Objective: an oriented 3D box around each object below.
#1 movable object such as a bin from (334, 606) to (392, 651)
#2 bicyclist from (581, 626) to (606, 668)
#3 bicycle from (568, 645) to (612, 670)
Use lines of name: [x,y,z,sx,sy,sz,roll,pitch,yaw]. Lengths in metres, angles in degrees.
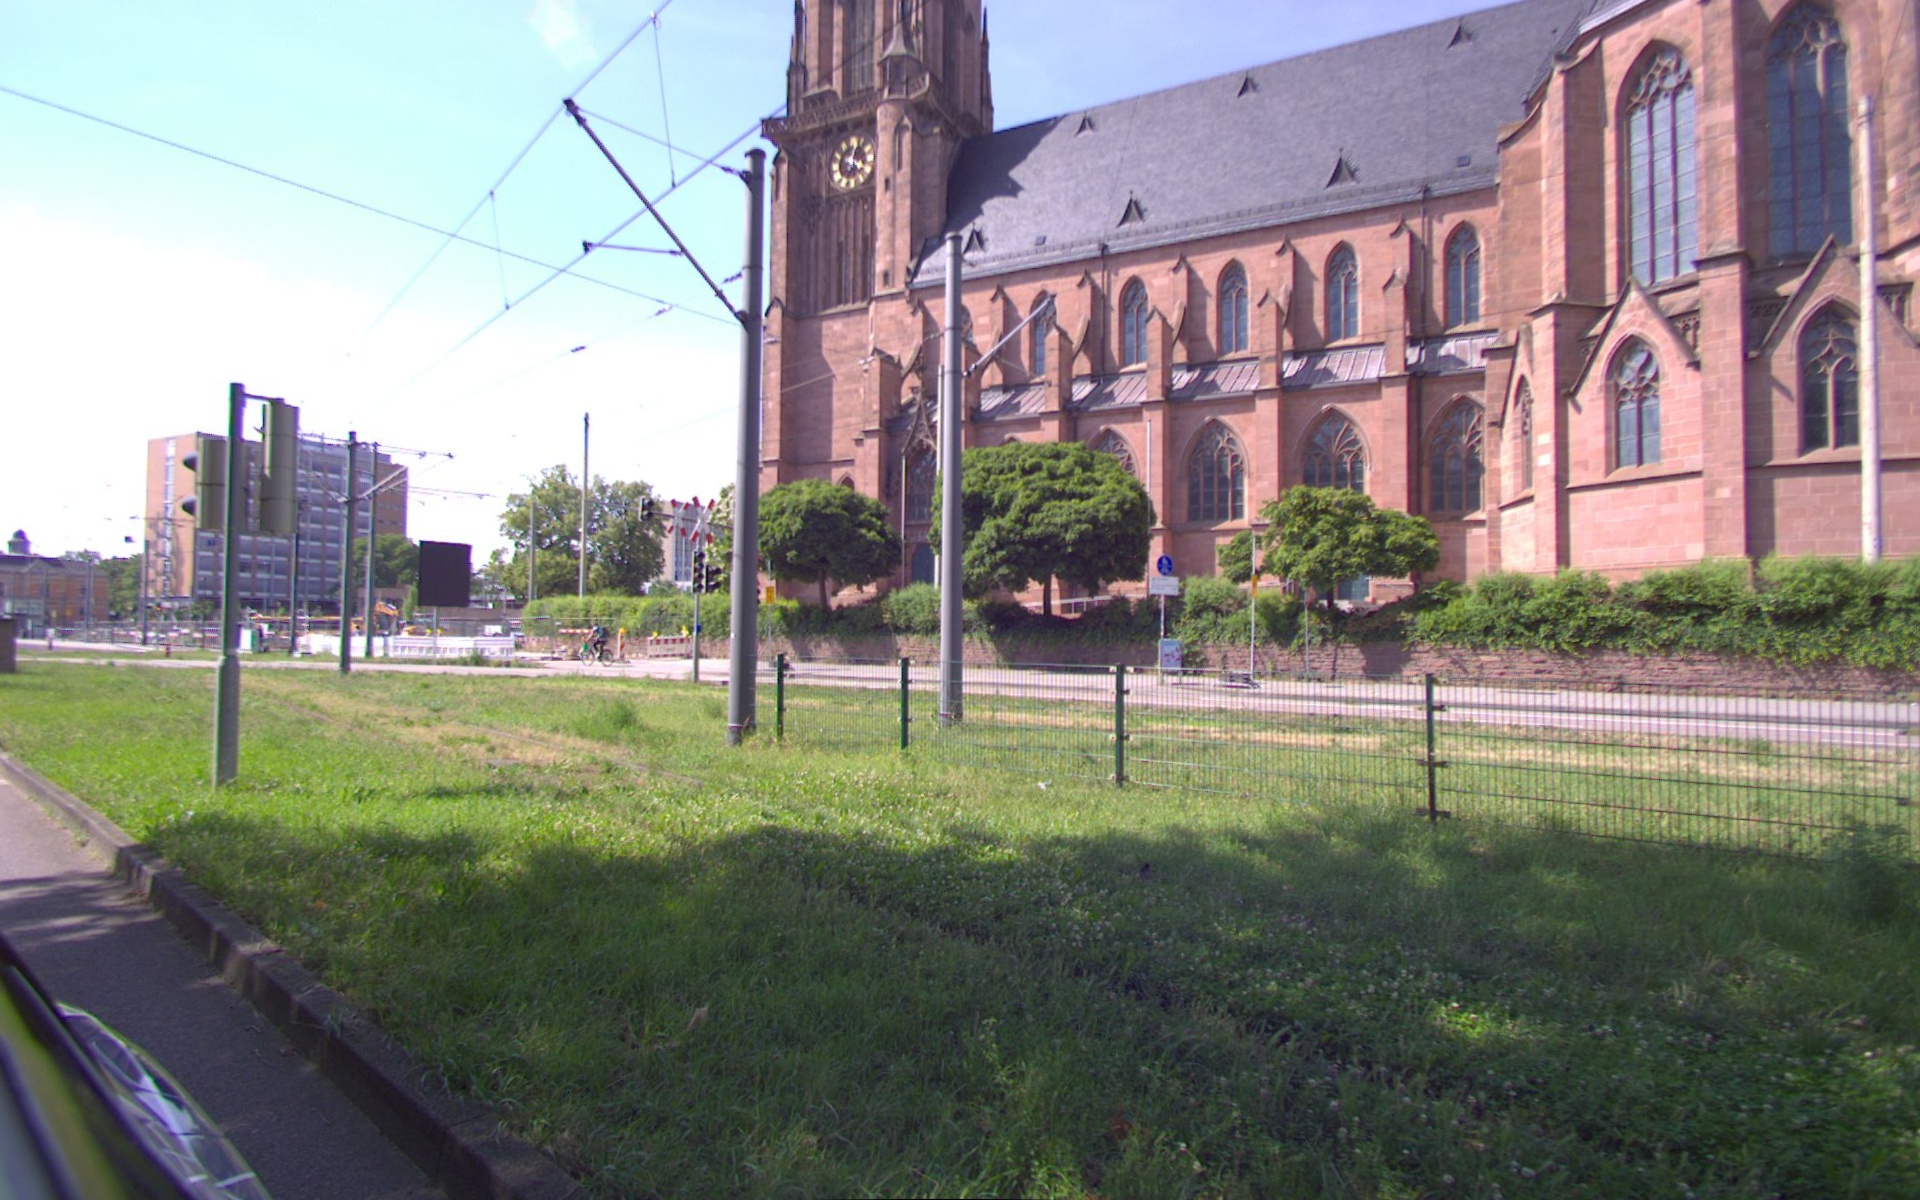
movable object such as a bin: [-52.555,2.536,89.201,2.903,3.911,3.328,0,-2,6]
bicyclist: [-15.670,2.020,43.245,0.791,1.775,0.638,-1,-3,31]
bicycle: [-15.833,2.449,43.318,1.962,1.054,0.650,-1,-3,31]
